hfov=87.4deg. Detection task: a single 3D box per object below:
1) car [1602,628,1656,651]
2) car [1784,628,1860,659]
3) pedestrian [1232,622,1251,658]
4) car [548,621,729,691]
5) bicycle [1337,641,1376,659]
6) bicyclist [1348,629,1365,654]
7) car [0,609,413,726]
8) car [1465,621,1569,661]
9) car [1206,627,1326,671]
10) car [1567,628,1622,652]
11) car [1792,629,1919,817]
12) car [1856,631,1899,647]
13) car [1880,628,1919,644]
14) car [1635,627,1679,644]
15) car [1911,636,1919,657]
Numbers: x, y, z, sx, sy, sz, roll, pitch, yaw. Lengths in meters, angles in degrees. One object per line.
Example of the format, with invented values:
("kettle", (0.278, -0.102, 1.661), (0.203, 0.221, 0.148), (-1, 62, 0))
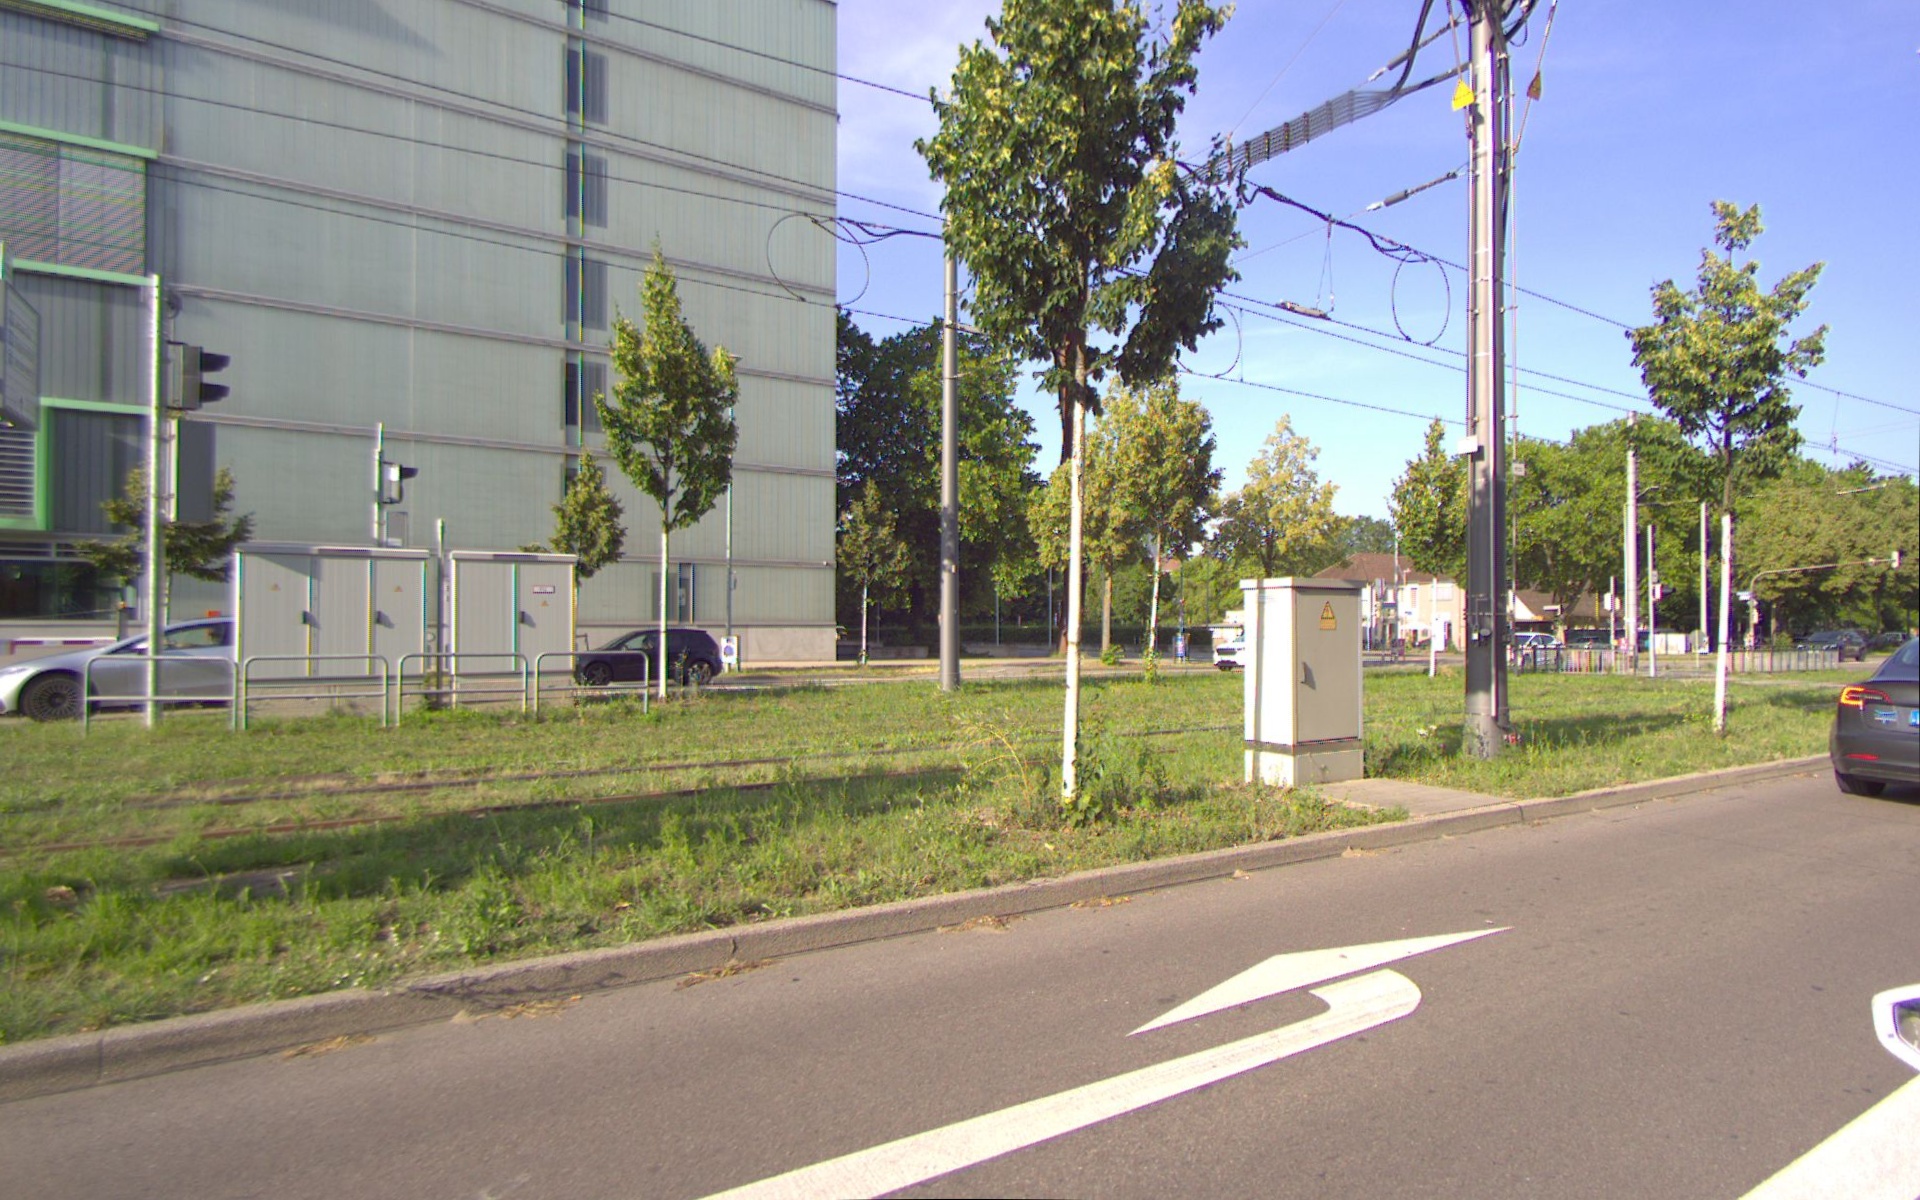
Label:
("car", (53.373, 3.151, 80.117), (3.948, 1.773, 1.875), (1, -2, -27))
("car", (49.015, 2.440, 57.073), (4.941, 1.707, 1.982), (1, -1, -33))
("pedestrian", (16.781, 2.412, 59.914), (0.864, 2.135, 0.724), (-1, -3, -2))
("car", (-8.270, 1.394, 25.911), (4.132, 1.656, 1.899), (1, -2, -32))
("bicycle", (24.349, 3.039, 61.677), (2.167, 1.055, 0.697), (-1, -2, 36))
("bicyclist", (24.363, 2.569, 61.680), (0.836, 1.512, 0.697), (-1, -2, 36))
("car", (-11.300, 0.998, 15.485), (4.864, 1.547, 1.981), (1, -5, -36))
("car", (22.695, 1.642, 40.900), (4.267, 1.548, 1.981), (1, -1, -34))
("car", (11.457, 1.794, 37.573), (4.392, 1.548, 1.896), (1, -1, -32))
("car", (49.215, 3.102, 77.904), (3.948, 1.773, 1.875), (1, -2, -27))
("car", (9.290, 0.994, 8.768), (4.286, 1.404, 1.879), (1, 0, -32))
("car", (91.451, 3.907, 100.151), (3.948, 1.580, 1.875), (1, -2, -27))
("car", (95.954, 3.702, 102.409), (3.948, 1.580, 1.875), (1, -2, -27))
("car", (67.289, 3.403, 96.946), (3.948, 1.580, 1.875), (1, -2, -27))
("car", (73.557, 3.497, 75.589), (4.175, 1.548, 1.868), (1, -1, -31))
